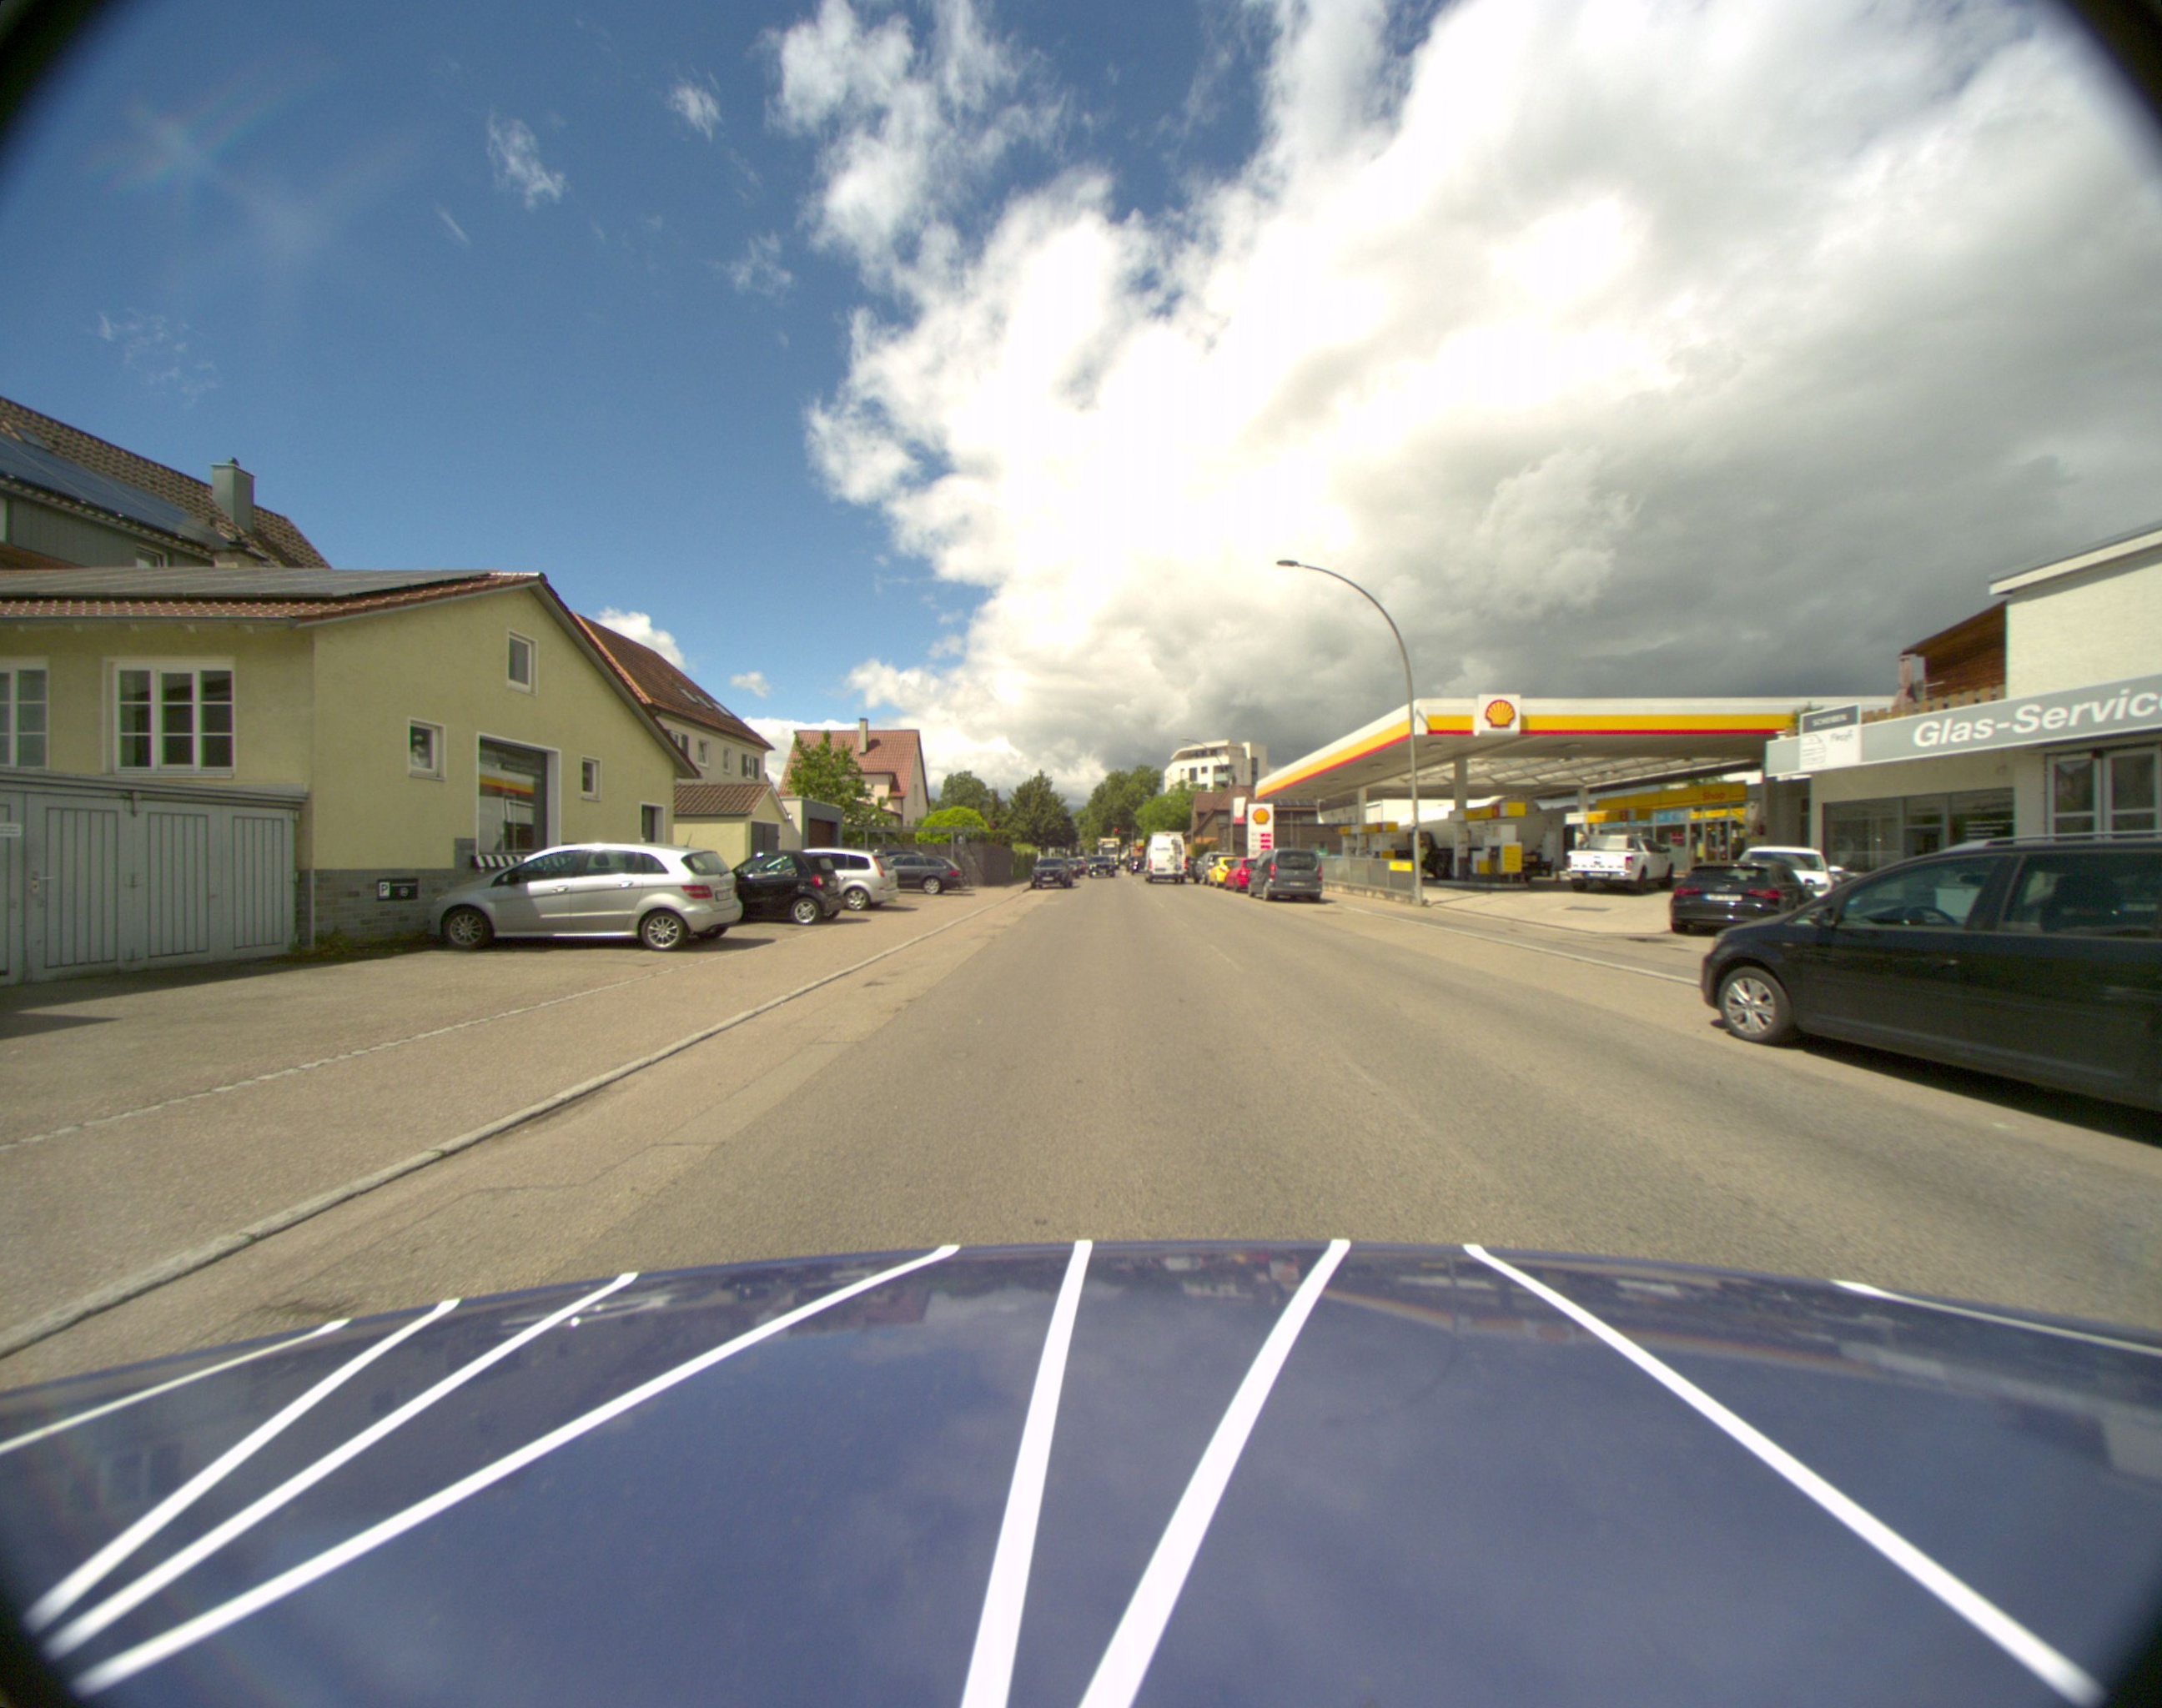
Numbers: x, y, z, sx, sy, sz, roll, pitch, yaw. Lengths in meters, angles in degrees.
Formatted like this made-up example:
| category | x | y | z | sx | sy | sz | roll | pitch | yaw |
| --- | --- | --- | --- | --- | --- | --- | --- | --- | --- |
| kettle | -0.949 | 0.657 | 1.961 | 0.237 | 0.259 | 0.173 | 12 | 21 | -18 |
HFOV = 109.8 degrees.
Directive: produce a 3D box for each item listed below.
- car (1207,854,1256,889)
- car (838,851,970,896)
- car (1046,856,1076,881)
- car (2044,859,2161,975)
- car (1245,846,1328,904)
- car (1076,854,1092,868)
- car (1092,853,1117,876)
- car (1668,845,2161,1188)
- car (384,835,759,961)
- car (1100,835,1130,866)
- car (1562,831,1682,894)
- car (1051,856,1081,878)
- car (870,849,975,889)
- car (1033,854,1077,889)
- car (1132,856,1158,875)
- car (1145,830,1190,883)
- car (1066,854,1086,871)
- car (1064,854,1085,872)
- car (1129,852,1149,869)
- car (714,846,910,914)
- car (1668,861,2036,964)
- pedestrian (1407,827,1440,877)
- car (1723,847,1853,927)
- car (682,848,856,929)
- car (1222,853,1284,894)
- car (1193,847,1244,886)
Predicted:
| category | x | y | z | sx | sy | sz | roll | pitch | yaw |
| --- | --- | --- | --- | --- | --- | --- | --- | --- | --- |
| car | 7.190 | 0.787 | 36.697 | 1.666 | 1.506 | 3.946 | 3 | 0 | 3 |
| car | -6.495 | 0.706 | 28.252 | 4.418 | 1.399 | 1.974 | 3 | 0 | -1 |
| car | -1.184 | 0.833 | 45.837 | 1.575 | 1.423 | 3.549 | 0 | 0 | 3 |
| car | 16.000 | 0.787 | 9.976 | 4.410 | 1.483 | 1.975 | -1 | -1 | -3 |
| car | 6.935 | 0.655 | 26.118 | 1.733 | 1.727 | 4.190 | 3 | 0 | 2 |
| car | 0.338 | 0.841 | 91.198 | 1.789 | 1.555 | 3.880 | -1 | 0 | 2 |
| car | 1.735 | 0.744 | 56.700 | 1.789 | 1.555 | 3.880 | -1 | 0 | 2 |
| car | 6.141 | 0.808 | 4.629 | 1.666 | 1.670 | 4.526 | 1 | 0 | 2 |
| car | -7.682 | 0.622 | 11.836 | 4.418 | 1.599 | 1.974 | 3 | 0 | -1 |
| car | 4.144 | -0.407 | 95.354 | 3.262 | 3.596 | 10.268 | -1 | 0 | 0 |
| car | 17.570 | 0.223 | 24.593 | 4.993 | 1.842 | 1.970 | -1 | 1 | -40 |
| car | -1.027 | 0.888 | 53.802 | 1.788 | 1.436 | 3.772 | -1 | 0 | 3 |
| car | -6.553 | 0.614 | 31.729 | 4.013 | 1.605 | 1.854 | 1 | 0 | -1 |
| car | -1.237 | 0.829 | 37.453 | 1.788 | 1.548 | 4.317 | -1 | 0 | 3 |
| car | 5.283 | 0.900 | 63.013 | 1.852 | 1.465 | 3.981 | 1 | 0 | 1 |
| car | 4.834 | 0.106 | 43.212 | 1.997 | 2.749 | 6.164 | 1 | 0 | 2 |
| car | -0.457 | 0.813 | 76.303 | 1.789 | 1.555 | 3.880 | -1 | 0 | 2 |
| car | -0.547 | 0.796 | 71.055 | 1.789 | 1.555 | 3.880 | -1 | 0 | 2 |
| car | 6.044 | 0.646 | 79.246 | 2.063 | 1.700 | 4.535 | -1 | 0 | 4 |
| car | -6.992 | 0.653 | 20.110 | 4.418 | 1.516 | 1.974 | 3 | 0 | -1 |
| car | 13.160 | 0.868 | 13.265 | 1.802 | 1.481 | 4.326 | 0 | 0 | -40 |
| pedestrian | 15.401 | -0.091 | 34.191 | 0.940 | 2.166 | 1.012 | -2 | 1 | 1 |
| car | 17.528 | 0.696 | 18.768 | 4.421 | 1.603 | 1.969 | -1 | 5 | -43 |
| car | -6.622 | 0.705 | 16.397 | 2.895 | 1.516 | 1.974 | 3 | 0 | -1 |
| car | 7.164 | 0.750 | 32.056 | 1.666 | 1.506 | 4.190 | 3 | 0 | 2 |
| car | 7.374 | 0.627 | 41.103 | 1.789 | 1.857 | 4.315 | 3 | 0 | -1 |
